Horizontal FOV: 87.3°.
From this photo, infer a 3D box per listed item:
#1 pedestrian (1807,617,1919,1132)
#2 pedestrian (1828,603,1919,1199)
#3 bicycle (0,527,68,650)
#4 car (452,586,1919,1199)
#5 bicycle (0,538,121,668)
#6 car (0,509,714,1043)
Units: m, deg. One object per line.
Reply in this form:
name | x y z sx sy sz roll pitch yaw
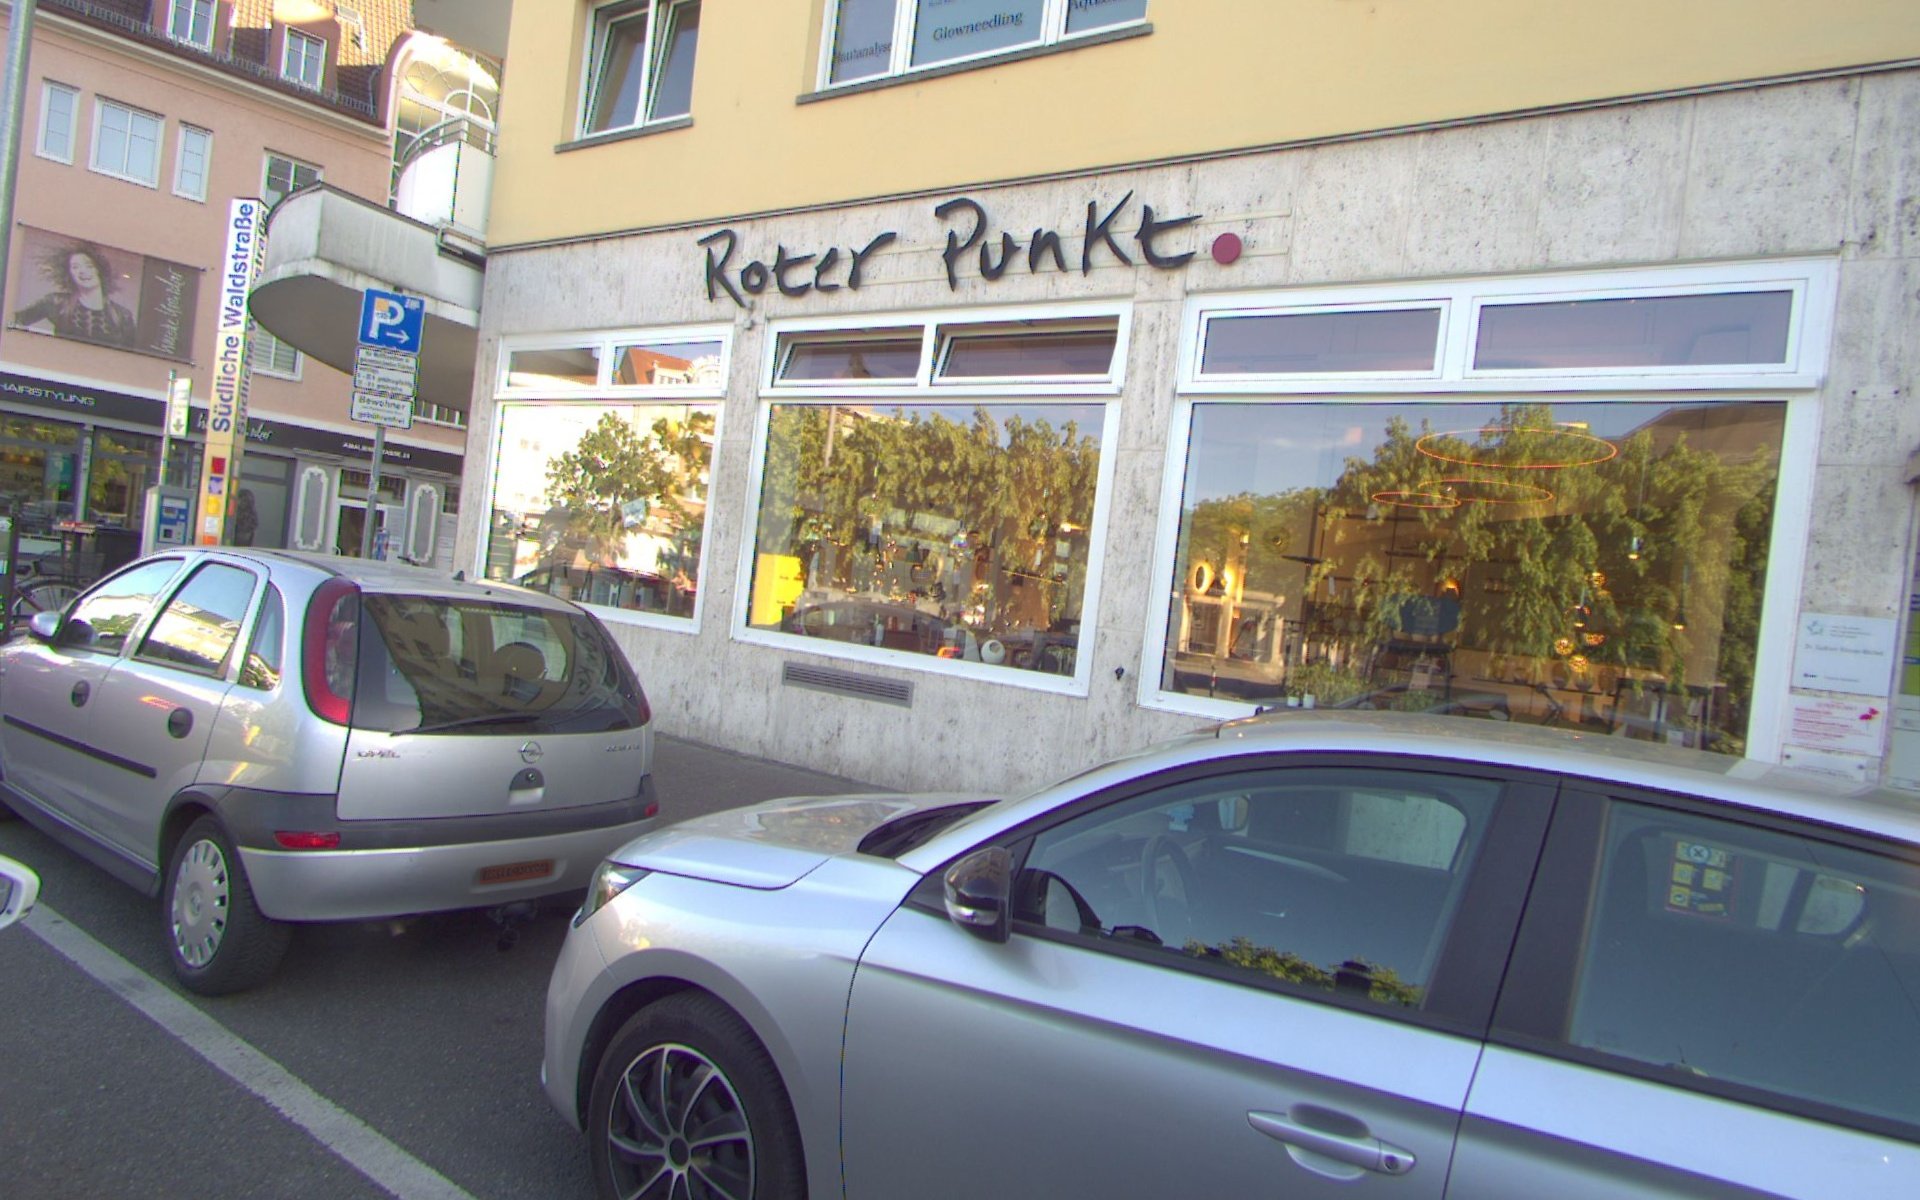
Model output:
pedestrian | 3.717 0.990 3.586 0.557 1.805 0.743 7 0 0
pedestrian | 3.127 0.903 2.939 0.654 1.685 0.641 7 0 -38
bicycle | -9.112 -0.148 8.792 0.408 1.101 1.872 6 1 35
car | 0.747 0.921 2.253 3.598 1.444 1.550 6 -1 30
bicycle | -8.121 0.001 8.210 0.348 1.051 1.871 6 1 38
car | -2.935 0.474 4.437 3.420 1.407 1.548 6 -1 33
